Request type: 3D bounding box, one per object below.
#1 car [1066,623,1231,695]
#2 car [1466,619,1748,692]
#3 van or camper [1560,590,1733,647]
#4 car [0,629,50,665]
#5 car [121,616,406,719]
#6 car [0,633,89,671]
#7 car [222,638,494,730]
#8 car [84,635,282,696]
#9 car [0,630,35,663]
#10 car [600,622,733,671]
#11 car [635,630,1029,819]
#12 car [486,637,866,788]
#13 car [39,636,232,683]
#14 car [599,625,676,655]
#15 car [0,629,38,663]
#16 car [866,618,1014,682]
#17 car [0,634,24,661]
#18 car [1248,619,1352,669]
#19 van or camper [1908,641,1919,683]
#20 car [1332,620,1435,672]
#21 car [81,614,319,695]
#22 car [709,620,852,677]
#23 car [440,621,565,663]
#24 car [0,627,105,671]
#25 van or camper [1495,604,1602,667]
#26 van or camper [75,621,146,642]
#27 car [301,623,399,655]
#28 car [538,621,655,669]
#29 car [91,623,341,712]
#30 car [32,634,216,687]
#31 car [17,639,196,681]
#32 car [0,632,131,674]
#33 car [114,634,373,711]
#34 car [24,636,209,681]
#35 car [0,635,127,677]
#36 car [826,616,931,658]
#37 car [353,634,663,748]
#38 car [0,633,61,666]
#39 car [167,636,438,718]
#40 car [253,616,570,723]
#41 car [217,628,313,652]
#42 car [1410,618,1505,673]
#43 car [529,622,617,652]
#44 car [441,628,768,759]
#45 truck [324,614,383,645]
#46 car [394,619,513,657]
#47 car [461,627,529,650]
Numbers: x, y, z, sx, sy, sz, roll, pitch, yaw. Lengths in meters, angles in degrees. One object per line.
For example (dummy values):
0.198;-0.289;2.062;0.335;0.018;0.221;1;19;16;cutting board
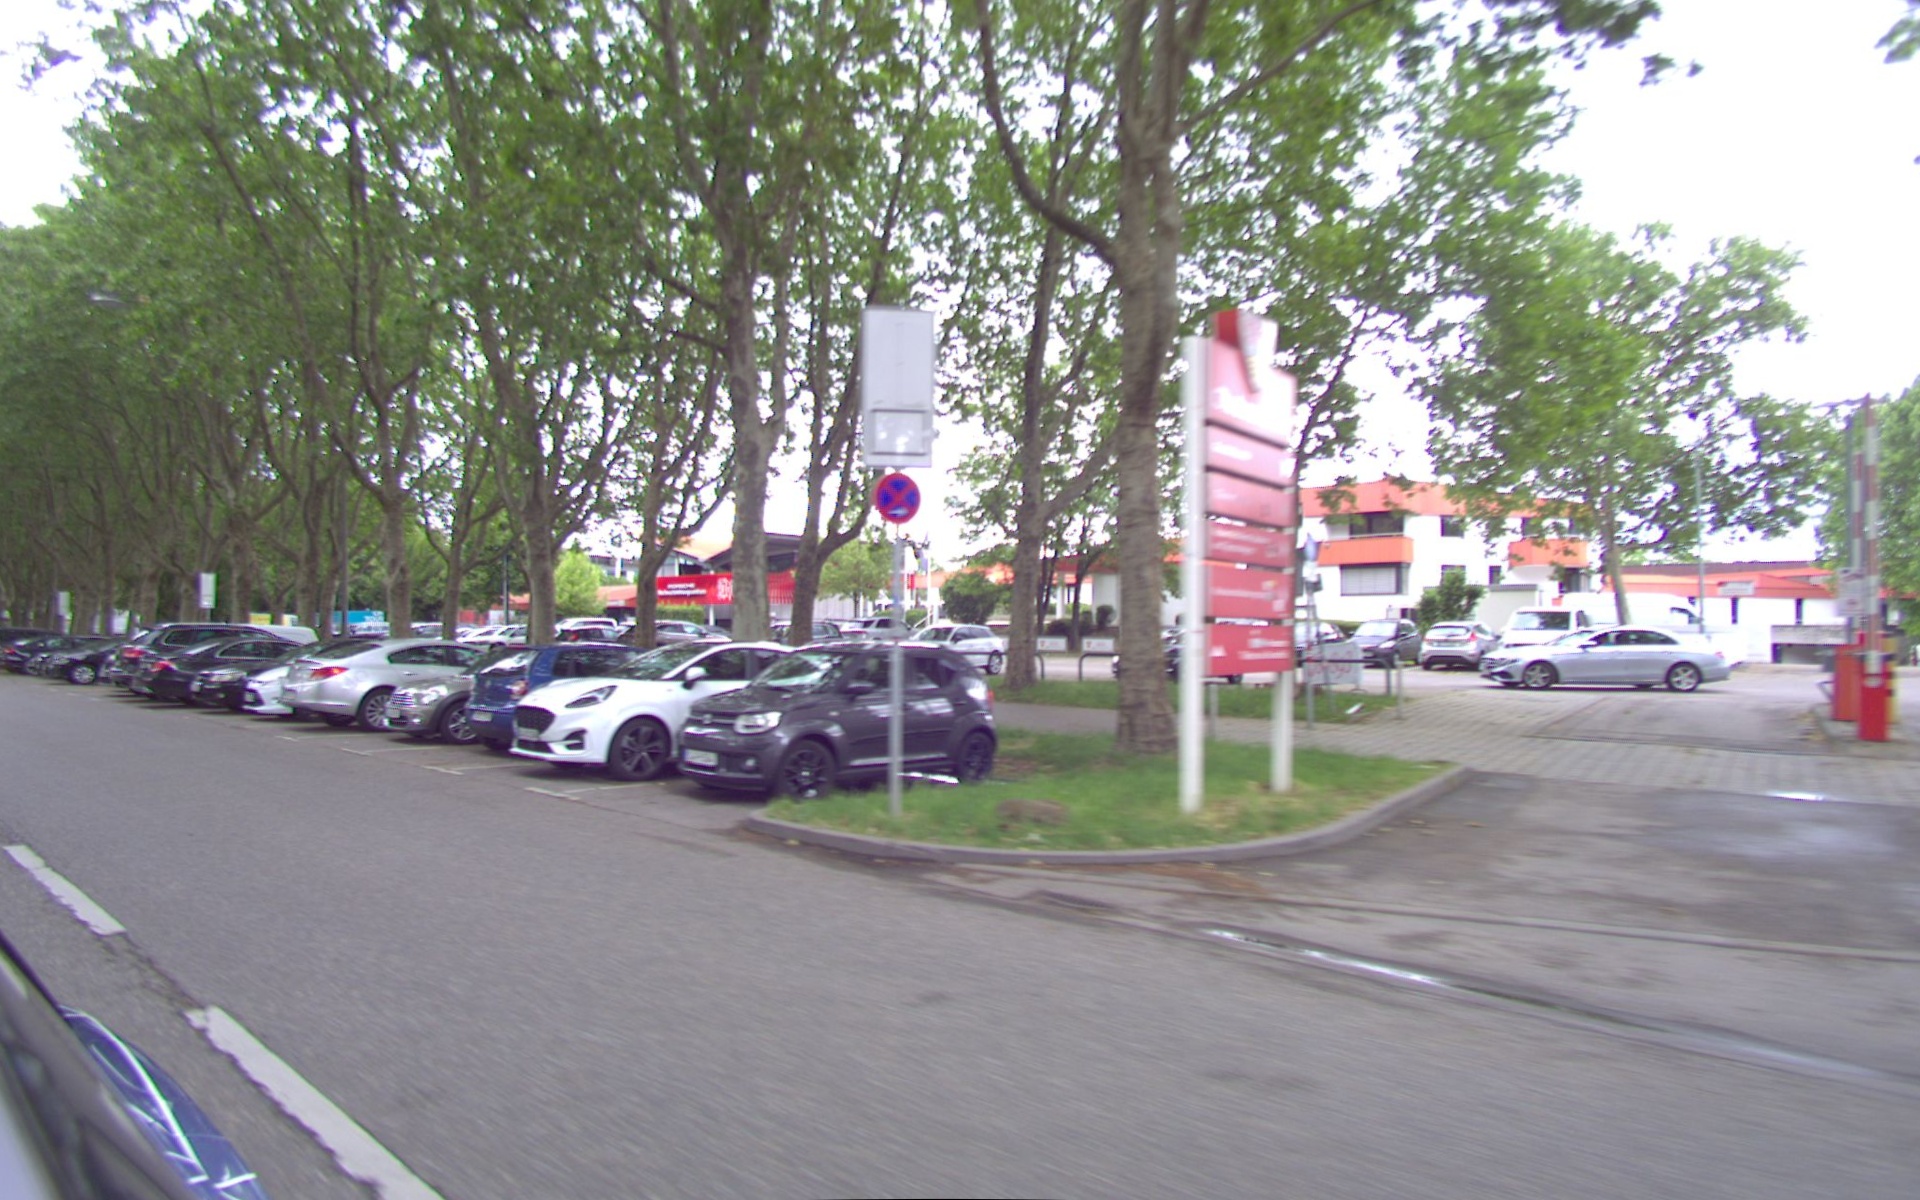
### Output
4.690;1.361;24.726;2.201;1.560;4.278;-1;-1;39;car
14.536;1.214;23.057;4.923;1.564;2.093;0;-1;10;car
26.092;0.701;38.579;5.298;2.029;1.974;-1;-1;40;van or camper
-47.318;2.314;49.509;1.855;1.695;3.945;-1;-1;41;car
-13.670;1.329;20.094;1.866;1.824;4.273;-2;-4;40;car
-39.637;2.209;42.862;1.727;1.528;3.889;-2;-4;41;car
-11.026;1.461;18.753;1.883;1.415;3.948;-1;-1;39;car
-20.546;1.739;26.926;1.757;1.483;3.756;-1;-4;29;car
-51.000;2.436;52.718;1.855;1.695;3.945;-1;-1;41;car
-11.356;1.742;39.401;2.294;1.739;4.507;-1;-1;39;car
-1.188;1.122;10.732;1.804;1.552;3.951;-1;-1;41;car
-3.232;1.183;12.044;1.912;1.395;3.949;-1;-1;43;car
-25.955;1.878;31.979;1.878;1.380;4.418;-2;-4;39;car
-19.040;2.340;59.884;1.996;1.637;3.951;-1;-1;36;car
-49.277;2.345;51.003;1.855;1.695;3.945;-1;-1;41;car
-0.531;1.414;29.826;2.130;1.722;4.278;-1;-1;39;car
-54.650;2.662;56.039;1.855;1.464;3.945;-1;-1;41;car
11.523;1.424;34.162;1.957;1.560;4.278;-1;-1;39;car
49.424;3.069;49.610;4.180;2.029;1.973;-1;-1;41;van or camper
13.877;1.433;33.034;1.957;1.560;4.278;-1;-1;39;car
-18.642;1.360;25.013;1.864;1.824;4.278;-2;-4;36;car
-6.120;1.600;34.834;2.294;1.775;4.473;-1;-1;39;car
-21.243;1.933;47.197;2.180;1.810;4.895;-2;-2;37;car
-37.753;2.021;41.411;1.750;1.721;3.892;-2;-4;38;car
17.559;1.017;30.100;2.130;1.722;4.278;-1;-1;39;van or camper
-87.621;3.254;104.455;2.241;2.115;5.235;-1;-1;37;van or camper
-36.028;2.333;59.902;1.997;1.734;4.509;-1;-4;38;car
-15.325;1.856;42.852;2.026;1.875;4.278;-1;-1;39;car
-16.905;1.441;23.166;2.035;1.809;4.273;-1;-1;40;car
-24.576;1.807;29.832;1.756;1.432;3.934;-2;-5;43;car
-29.508;2.103;35.116;1.857;1.377;4.419;-2;-5;38;car
-33.961;2.002;37.747;1.701;1.493;4.419;-2;-4;38;car
-15.108;1.549;21.506;2.013;1.463;4.084;-2;-5;42;car
-27.688;1.933;33.322;1.901;1.358;4.416;-2;-4;41;car
-32.007;1.960;35.601;1.701;1.409;3.892;-2;-4;38;car
-3.756;1.675;47.243;2.298;1.869;4.526;-1;-1;45;car
-6.775;1.273;15.485;1.860;1.416;3.947;-1;-1;40;car
-43.419;2.229;45.722;1.701;1.431;3.954;-2;-4;38;car
-13.014;1.441;20.237;1.964;1.364;4.149;-1;-1;38;car
-9.056;1.164;17.032;1.906;1.560;4.222;-1;-5;38;car
-49.190;2.813;71.723;2.092;1.608;5.296;-1;-1;39;car
15.473;1.348;31.348;1.788;1.560;4.176;-1;-1;38;car
-24.856;2.319;65.131;2.180;1.810;4.895;-1;-1;37;car
-4.805;1.167;14.109;1.831;1.505;3.953;-1;-1;40;car
-54.680;2.626;91.270;2.374;2.737;3.948;-1;-1;39;truck
-25.276;1.847;50.673;2.180;1.810;4.895;-1;-1;37;car
-33.450;2.732;72.850;1.996;1.563;3.983;-1;-1;36;car
